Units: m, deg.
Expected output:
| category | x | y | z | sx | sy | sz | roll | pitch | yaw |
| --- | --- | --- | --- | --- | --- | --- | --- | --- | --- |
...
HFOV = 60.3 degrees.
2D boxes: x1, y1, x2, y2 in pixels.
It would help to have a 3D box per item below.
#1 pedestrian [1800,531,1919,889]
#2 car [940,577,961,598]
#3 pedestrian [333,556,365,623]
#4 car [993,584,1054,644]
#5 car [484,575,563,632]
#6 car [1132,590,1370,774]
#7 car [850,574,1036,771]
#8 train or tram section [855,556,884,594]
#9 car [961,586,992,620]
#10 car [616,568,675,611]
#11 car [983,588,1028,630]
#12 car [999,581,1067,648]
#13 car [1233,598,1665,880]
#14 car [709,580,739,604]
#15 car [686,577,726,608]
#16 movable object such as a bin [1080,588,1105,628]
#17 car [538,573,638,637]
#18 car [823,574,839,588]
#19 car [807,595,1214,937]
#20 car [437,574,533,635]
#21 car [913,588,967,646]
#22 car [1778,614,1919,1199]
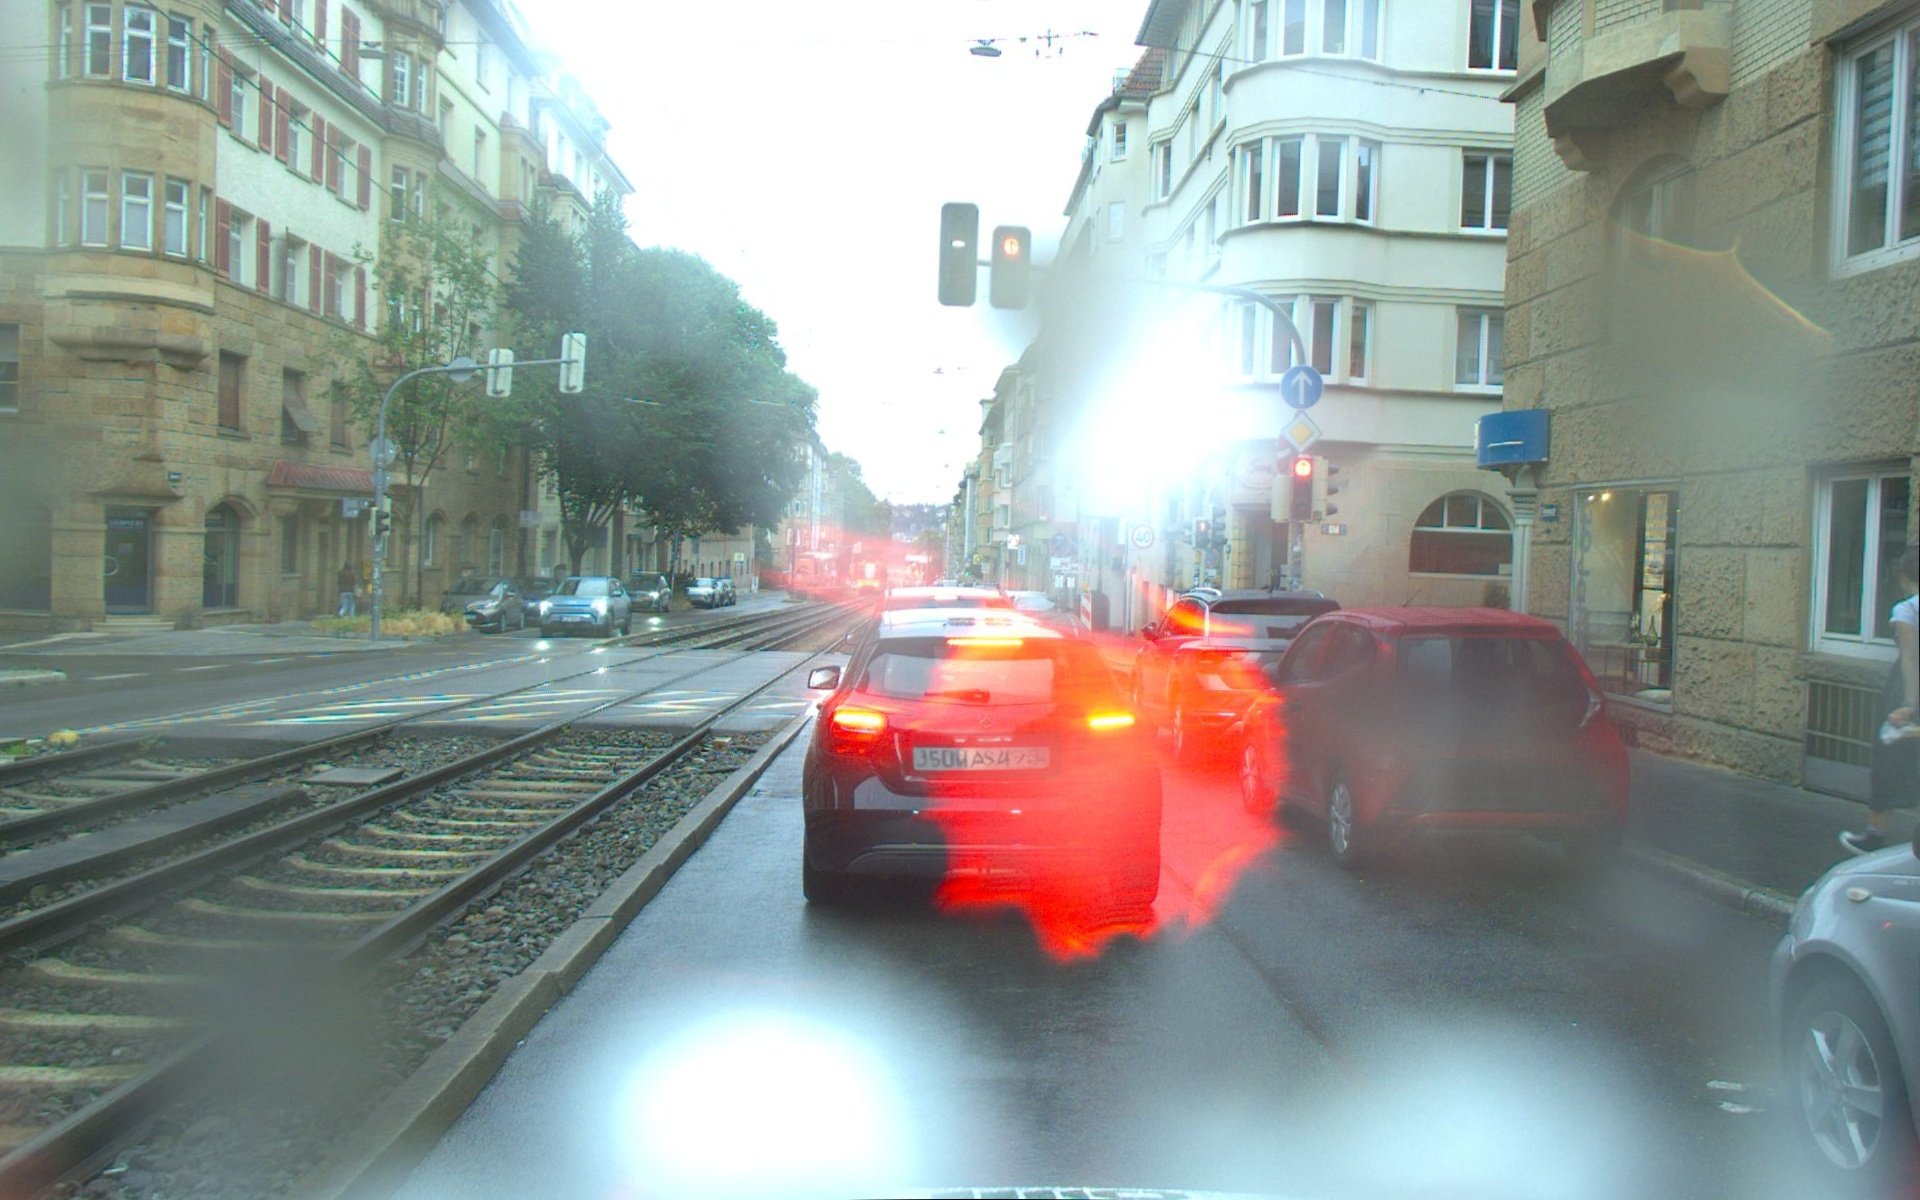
| category | x | y | z | sx | sy | sz | roll | pitch | yaw |
| --- | --- | --- | --- | --- | --- | --- | --- | --- | --- |
| pedestrian | 5.110 | 0.554 | 8.771 | 0.726 | 1.778 | 1.111 | 1 | -1 | -1 |
| car | -0.965 | -1.226 | 162.363 | 1.953 | 1.909 | 3.999 | 1 | 0 | -1 |
| pedestrian | -15.662 | -0.264 | 42.413 | 0.619 | 1.702 | 0.701 | 1 | -1 | -9 |
| car | 1.775 | 0.372 | 47.121 | 1.513 | 1.618 | 3.547 | 1 | 0 | -1 |
| car | -13.270 | 0.104 | 50.503 | 1.683 | 1.639 | 3.914 | 1 | 0 | -5 |
| car | 2.636 | 0.678 | 15.777 | 1.513 | 1.512 | 3.829 | 1 | 0 | -1 |
| car | -0.171 | 0.619 | 15.815 | 1.533 | 1.637 | 3.813 | 1 | 0 | -1 |
| train or tram section | -10.068 | -2.703 | 184.029 | 2.726 | 3.928 | 10.427 | 1 | 0 | -1 |
| car | 0.730 | 0.121 | 73.587 | 1.268 | 1.467 | 2.928 | 1 | 0 | -1 |
| car | -13.555 | -0.422 | 71.486 | 1.837 | 1.767 | 3.917 | 1 | 0 | -1 |
| car | 1.670 | 0.318 | 61.530 | 1.513 | 1.512 | 3.547 | 1 | 0 | -1 |
| car | 1.845 | 0.346 | 42.647 | 1.513 | 1.618 | 3.547 | 1 | 0 | -1 |
| car | 2.911 | 0.751 | 10.542 | 1.609 | 1.473 | 3.297 | 1 | 0 | -3 |
| car | -14.017 | -0.453 | 98.352 | 1.419 | 1.354 | 3.270 | 1 | 0 | -3 |
| car | -13.649 | -0.396 | 88.948 | 1.557 | 1.608 | 3.917 | 1 | 0 | -1 |
| movable object such as a bin | 4.770 | 0.295 | 59.624 | 0.859 | 1.413 | 0.983 | 1 | -1 | 3 |
| car | -10.041 | 0.140 | 44.908 | 1.860 | 1.615 | 3.972 | 1 | 0 | -1 |
| car | -12.146 | -1.793 | 155.449 | 1.349 | 1.271 | 3.296 | 1 | 0 | -2 |
| car | 0.196 | 0.735 | 9.432 | 1.792 | 1.483 | 4.103 | 1 | 0 | -1 |
| car | -13.006 | 0.123 | 45.477 | 1.718 | 1.579 | 4.032 | 1 | 0 | -4 |
| car | -0.633 | 0.486 | 49.916 | 1.513 | 1.664 | 3.684 | 1 | 0 | -2 |
| car | 3.129 | 0.792 | 3.082 | 1.581 | 1.493 | 3.312 | 0 | 0 | 0 |
